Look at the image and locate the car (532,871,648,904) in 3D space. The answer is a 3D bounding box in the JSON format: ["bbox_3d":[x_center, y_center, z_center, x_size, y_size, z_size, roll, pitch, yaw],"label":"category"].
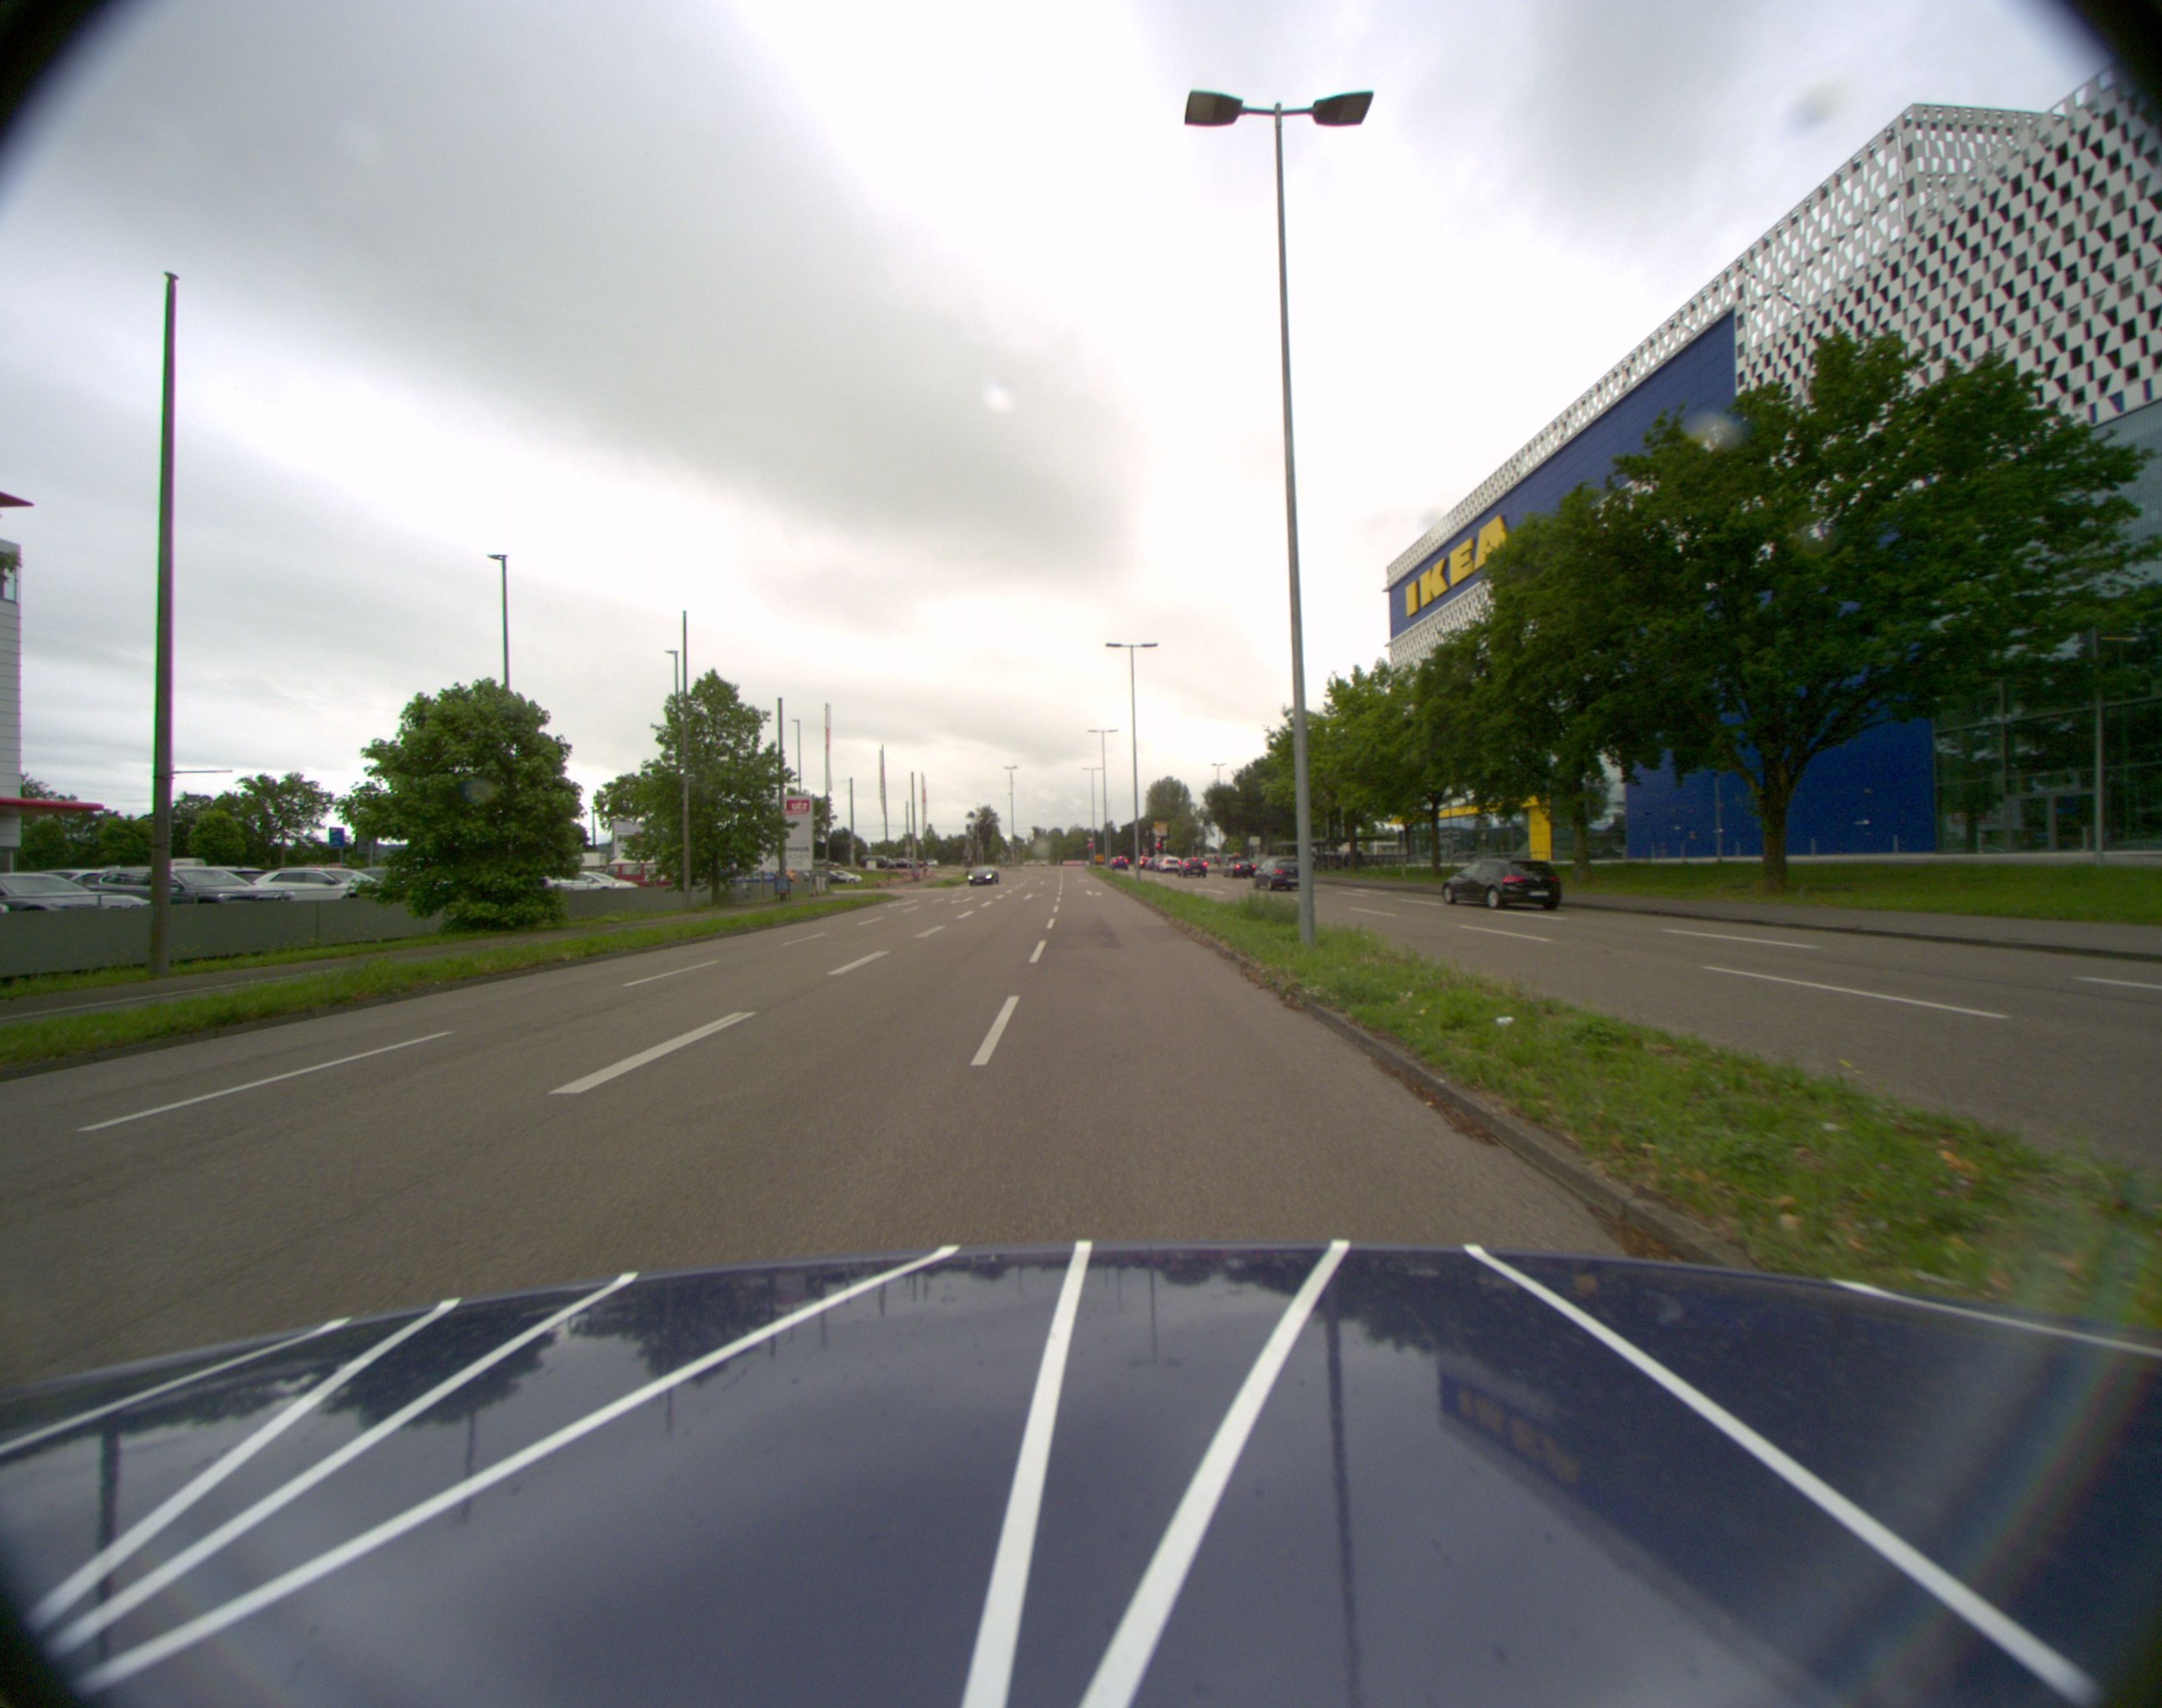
[{"bbox_3d":[-24.001,1.642,37.249,4.385,1.452,1.961,-2,-2,1],"label":"car"}]

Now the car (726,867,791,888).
[{"bbox_3d":[-24.182,1.767,57.073,3.997,1.447,1.814,-2,1,0],"label":"car"}]

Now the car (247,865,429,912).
[{"bbox_3d":[-23.810,1.110,24.455,4.065,1.342,1.764,-2,-2,-2],"label":"car"}]

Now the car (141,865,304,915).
[{"bbox_3d":[-33.474,1.405,29.704,4.322,1.733,1.890,-2,-2,2],"label":"car"}]

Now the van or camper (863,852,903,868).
[{"bbox_3d":[-26.758,0.806,102.800,4.744,2.003,2.125,0,2,15],"label":"van or camper"}]

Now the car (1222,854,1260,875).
[{"bbox_3d":[11.966,0.765,57.133,1.777,1.443,4.403,0,0,-2],"label":"car"}]

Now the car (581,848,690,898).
[{"bbox_3d":[-24.676,1.092,42.208,4.734,2.563,2.171,-2,-2,1],"label":"car"}]

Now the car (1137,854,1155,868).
[{"bbox_3d":[7.856,0.825,91.686,1.666,1.494,4.064,-2,0,-1],"label":"car"}]

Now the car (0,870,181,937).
[{"bbox_3d":[-23.791,1.145,17.451,4.065,1.391,1.764,-2,-2,-2],"label":"car"}]

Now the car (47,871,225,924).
[{"bbox_3d":[-33.763,1.540,27.226,4.182,1.654,1.833,-2,0,2],"label":"car"}]

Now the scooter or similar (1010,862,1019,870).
[{"bbox_3d":[-9.468,1.718,108.394,1.114,1.249,0.321,0,3,10],"label":"scooter or similar"}]

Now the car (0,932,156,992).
[{"bbox_3d":[-28.944,3.022,21.191,4.064,1.342,1.764,-2,0,0],"label":"car"}]

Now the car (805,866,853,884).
[{"bbox_3d":[-24.666,2.073,74.485,4.104,1.573,1.769,-2,-1,-4],"label":"car"}]

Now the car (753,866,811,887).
[{"bbox_3d":[-24.395,1.825,62.051,3.996,1.634,1.816,-1,1,4],"label":"car"}]

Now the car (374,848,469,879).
[{"bbox_3d":[-68.218,0.981,78.766,6.951,2.971,2.767,-1,-2,-10],"label":"car"}]

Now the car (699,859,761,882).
[{"bbox_3d":[-34.339,1.585,74.349,5.046,2.152,2.123,-1,1,4],"label":"car"}]

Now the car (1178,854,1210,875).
[{"bbox_3d":[8.567,0.752,57.724,1.762,1.445,3.999,-1,1,-1],"label":"car"}]

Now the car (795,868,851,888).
[{"bbox_3d":[-23.206,2.148,68.480,4.543,1.574,1.767,-2,2,-14],"label":"car"}]

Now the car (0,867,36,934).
[{"bbox_3d":[-23.608,0.975,14.757,4.065,1.342,1.764,-2,-2,-2],"label":"car"}]

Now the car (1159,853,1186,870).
[{"bbox_3d":[8.659,0.719,72.465,1.936,1.510,4.181,-2,0,-1],"label":"car"}]

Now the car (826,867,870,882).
[{"bbox_3d":[-24.540,2.195,80.106,4.118,1.437,1.876,-2,-2,-2],"label":"car"}]

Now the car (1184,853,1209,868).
[{"bbox_3d":[11.702,0.616,77.439,1.871,1.446,4.168,0,0,-1],"label":"car"}]

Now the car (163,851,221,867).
[{"bbox_3d":[-145.671,0.828,124.574,5.898,2.609,2.664,-1,-2,-6],"label":"car"}]

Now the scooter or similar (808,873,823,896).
[{"bbox_3d":[-14.209,1.614,40.628,0.371,1.184,1.248,-1,0,-1],"label":"scooter or similar"}]

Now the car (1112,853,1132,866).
[{"bbox_3d":[4.657,0.608,86.631,1.936,1.477,4.438,0,1,-2],"label":"car"}]

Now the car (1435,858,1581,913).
[{"bbox_3d":[12.356,0.843,22.333,1.936,1.447,4.182,0,0,0],"label":"car"}]

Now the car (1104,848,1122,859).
[{"bbox_3d":[4.147,-0.079,97.993,1.888,1.428,4.430,0,0,-3],"label":"car"}]

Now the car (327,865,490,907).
[{"bbox_3d":[-23.709,1.126,26.904,4.065,1.342,1.835,-2,-2,-2],"label":"car"}]

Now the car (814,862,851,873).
[{"bbox_3d":[-34.055,1.891,104.195,4.317,1.455,1.969,0,0,4],"label":"car"}]

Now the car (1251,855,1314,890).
[{"bbox_3d":[9.086,0.802,34.627,1.784,1.447,4.181,-1,1,0],"label":"car"}]

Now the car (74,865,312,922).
[{"bbox_3d":[-23.660,1.046,20.371,4.163,1.342,1.810,-2,-2,-2],"label":"car"}]
